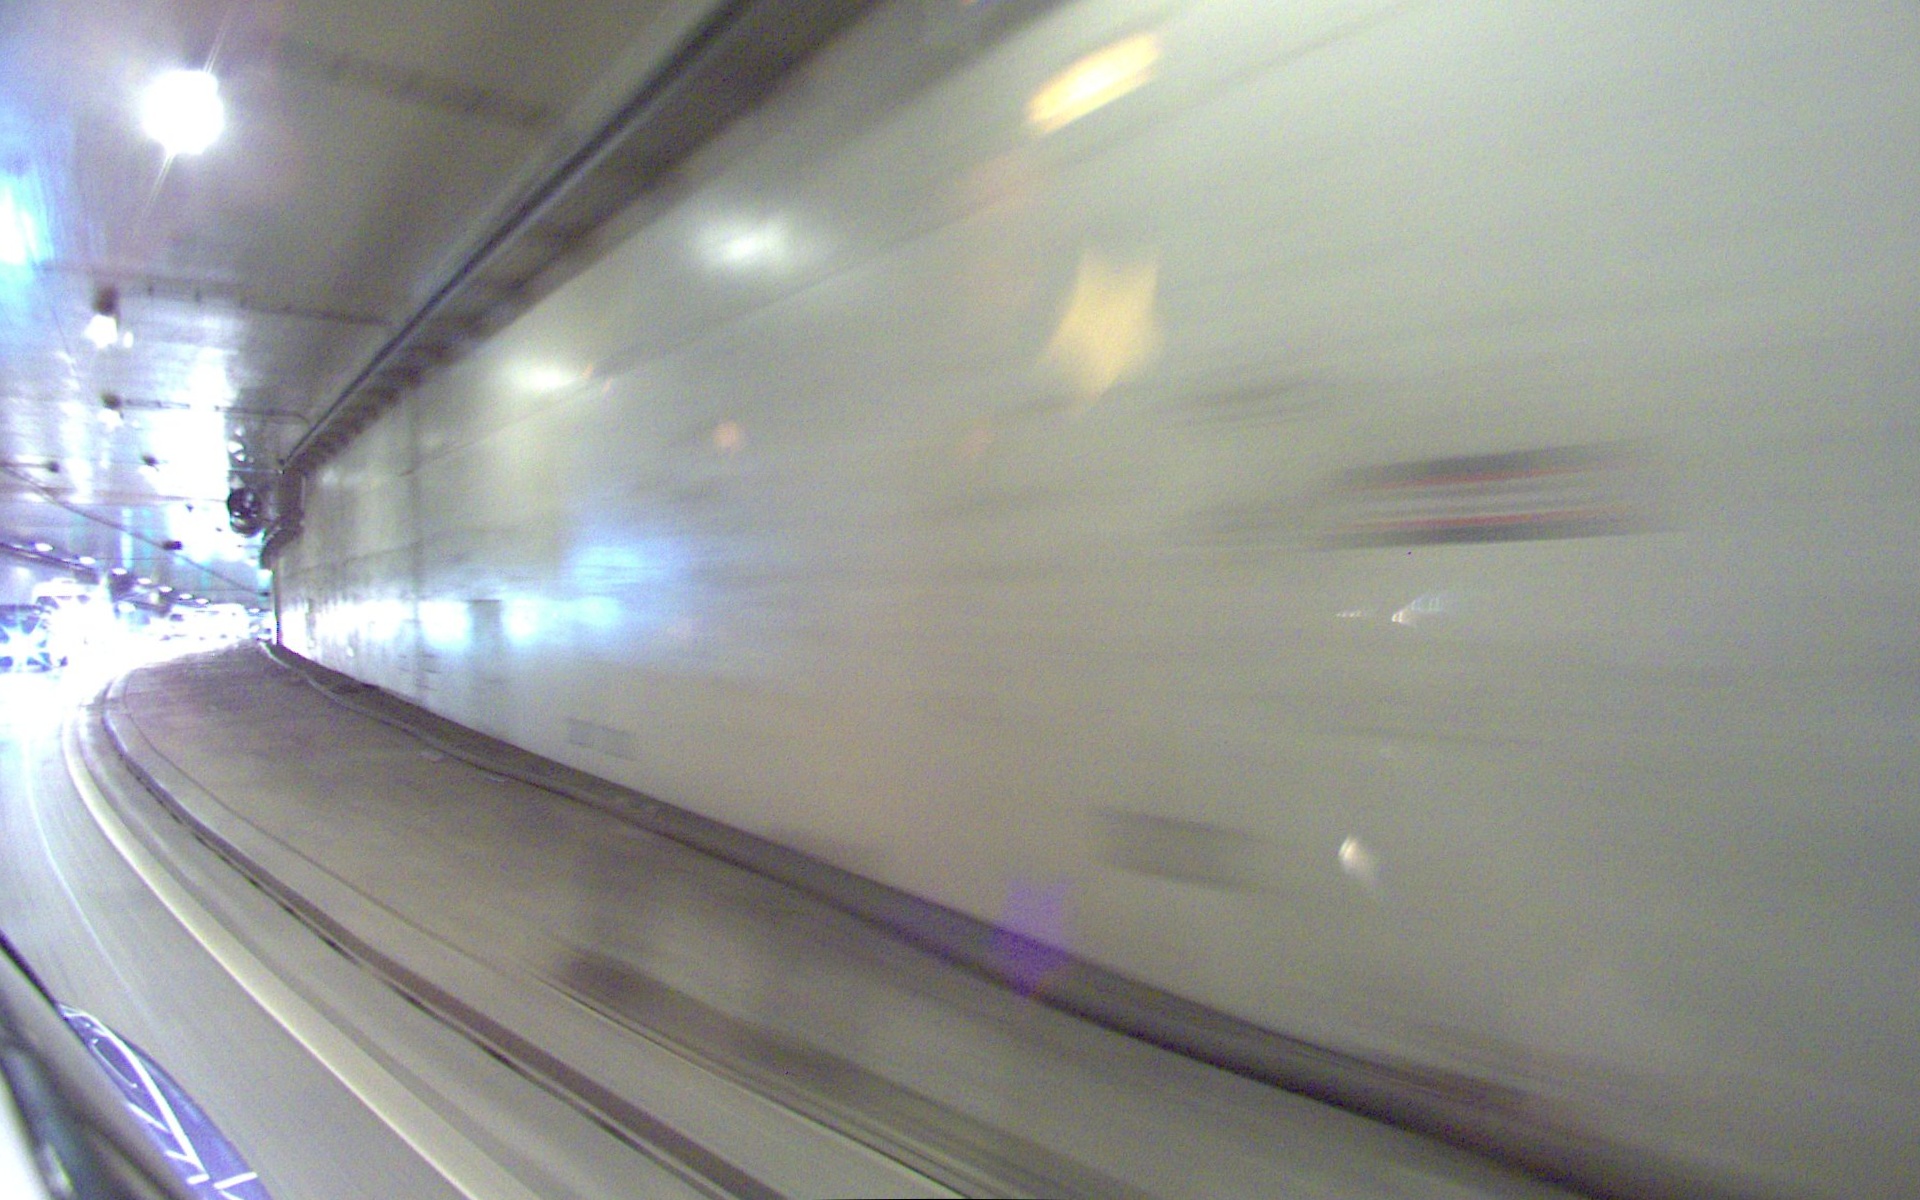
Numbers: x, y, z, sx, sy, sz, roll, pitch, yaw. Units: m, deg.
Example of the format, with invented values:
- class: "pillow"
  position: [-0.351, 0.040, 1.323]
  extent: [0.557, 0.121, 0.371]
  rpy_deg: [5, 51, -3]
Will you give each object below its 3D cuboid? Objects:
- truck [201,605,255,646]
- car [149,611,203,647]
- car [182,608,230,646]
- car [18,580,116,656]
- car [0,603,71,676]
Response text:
- class: "truck"
  position: [-51.938, 1.750, 71.917]
  extent: [2.040, 2.558, 6.044]
  rpy_deg: [-3, 2, -26]
- class: "car"
  position: [-37.705, 1.389, 48.735]
  extent: [1.736, 1.572, 3.828]
  rpy_deg: [-3, 1, -34]
- class: "car"
  position: [-44.369, 1.626, 59.620]
  extent: [1.904, 1.944, 4.208]
  rpy_deg: [-2, -3, -33]
- class: "car"
  position: [-38.407, 0.870, 43.731]
  extent: [2.072, 2.869, 6.879]
  rpy_deg: [0, -4, -32]
- class: "car"
  position: [-21.797, 0.865, 23.331]
  extent: [1.613, 1.573, 3.725]
  rpy_deg: [0, -1, -36]
